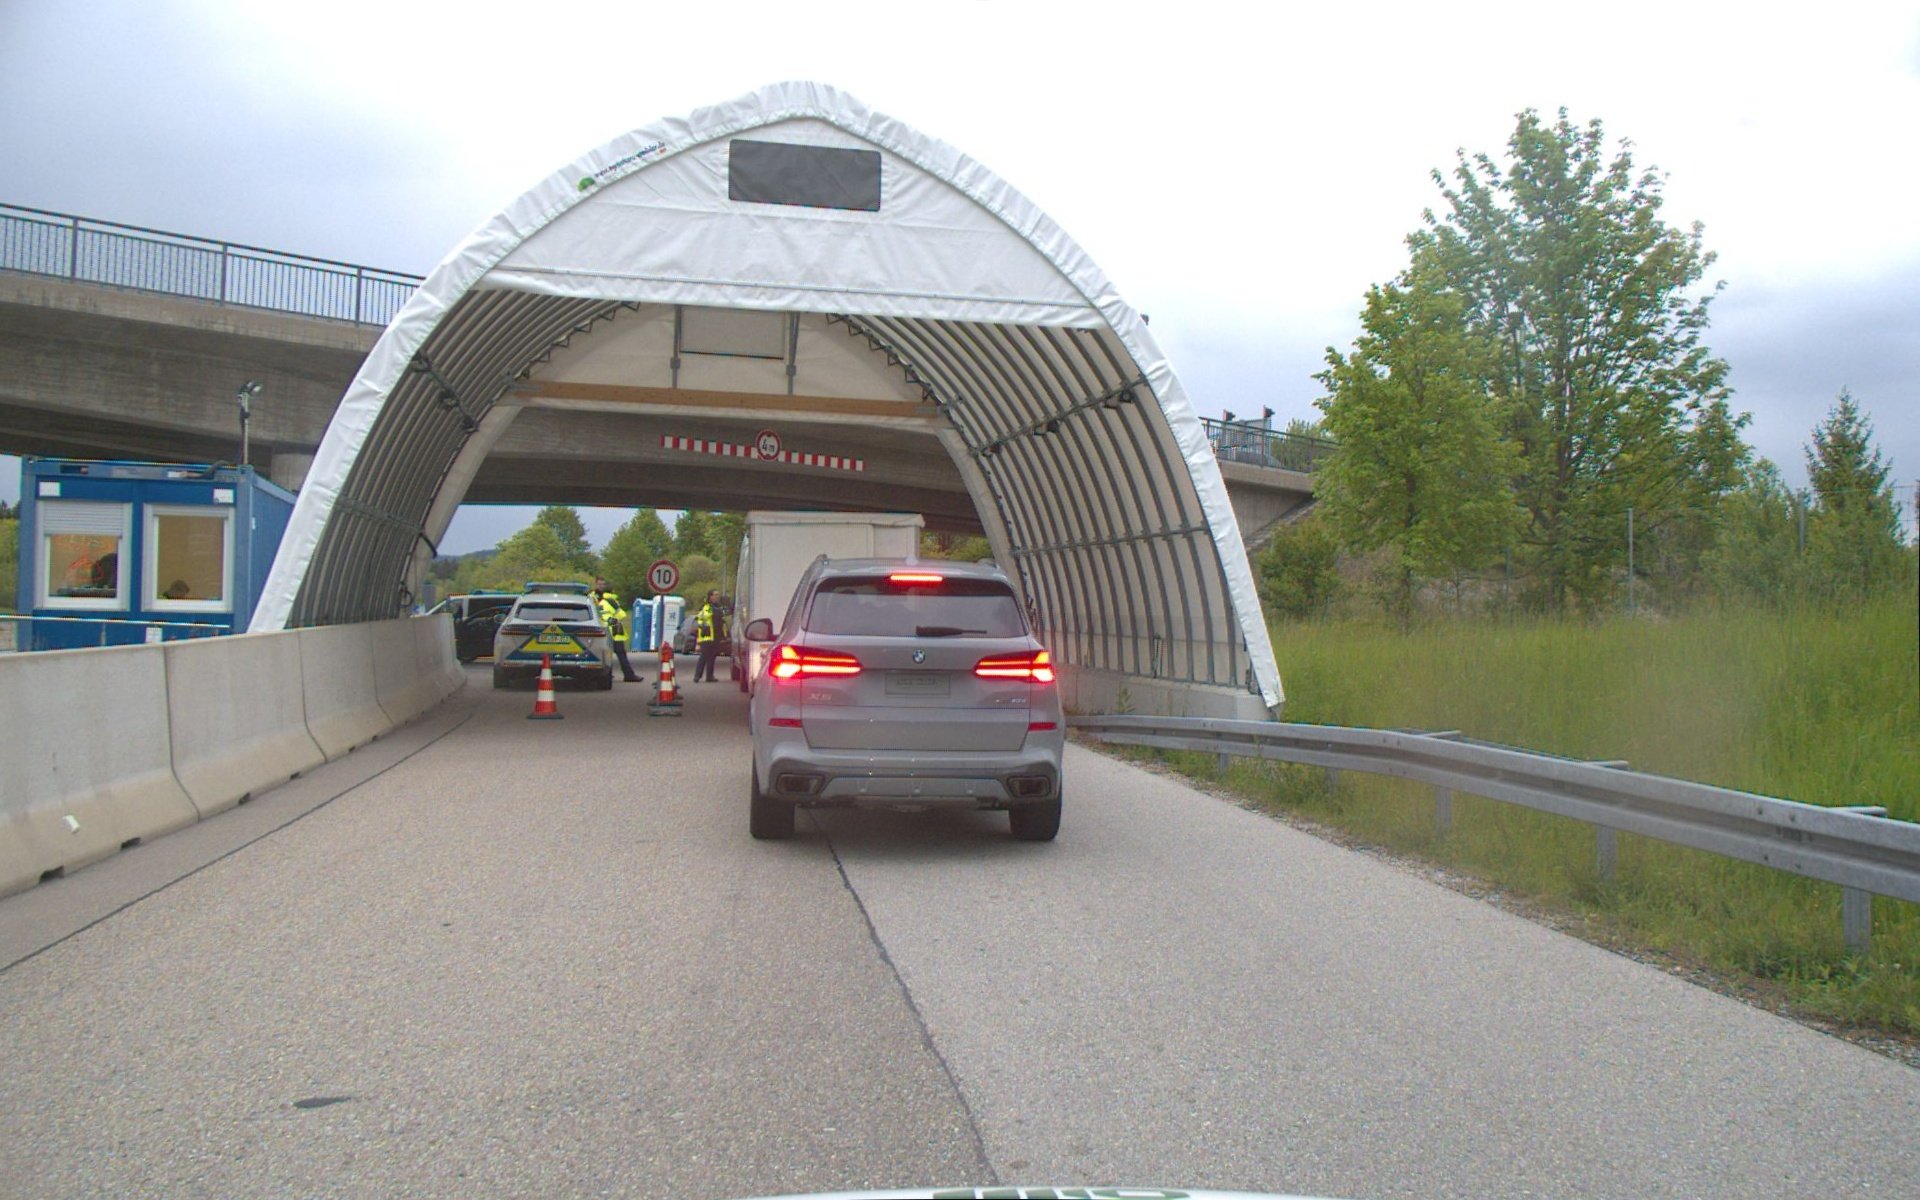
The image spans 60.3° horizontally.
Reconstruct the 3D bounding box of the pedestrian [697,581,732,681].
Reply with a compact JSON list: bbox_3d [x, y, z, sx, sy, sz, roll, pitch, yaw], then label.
[{"bbox_3d":[-4.508,0.569,30.358,0.593,1.807,0.648,0,-1,-11],"label":"pedestrian"}]

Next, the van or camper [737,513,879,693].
[{"bbox_3d":[-2.765,0.104,28.790,2.117,2.812,5.859,0,-1,-9],"label":"van or camper"}]

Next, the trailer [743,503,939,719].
[{"bbox_3d":[-1.787,0.196,22.444,2.236,2.473,6.805,0,-1,-7],"label":"trailer"}]

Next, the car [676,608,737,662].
[{"bbox_3d":[-9.142,1.223,59.452,1.676,1.886,3.982,0,0,-16],"label":"car"}]

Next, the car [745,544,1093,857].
[{"bbox_3d":[-0.351,0.591,11.332,1.954,1.750,3.997,0,-1,-4],"label":"car"}]

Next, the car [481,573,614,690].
[{"bbox_3d":[-6.763,0.491,27.471,1.958,1.803,3.755,0,0,-12],"label":"car"}]

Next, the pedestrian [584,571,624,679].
[{"bbox_3d":[-6.623,0.463,30.817,0.707,1.979,0.688,0,-1,-11],"label":"pedestrian"}]

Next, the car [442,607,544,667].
[{"bbox_3d":[-12.076,0.926,42.699,1.503,1.467,3.272,0,0,-37],"label":"car"}]

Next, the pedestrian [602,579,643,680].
[{"bbox_3d":[-6.099,0.533,29.911,0.707,1.807,0.688,0,-1,-11],"label":"pedestrian"}]

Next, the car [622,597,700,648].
[{"bbox_3d":[-12.427,0.913,68.687,1.973,2.049,3.959,0,-1,-30],"label":"car"}]

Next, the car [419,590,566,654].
[{"bbox_3d":[-14.038,0.649,49.795,3.903,1.886,1.710,0,0,4],"label":"car"}]
